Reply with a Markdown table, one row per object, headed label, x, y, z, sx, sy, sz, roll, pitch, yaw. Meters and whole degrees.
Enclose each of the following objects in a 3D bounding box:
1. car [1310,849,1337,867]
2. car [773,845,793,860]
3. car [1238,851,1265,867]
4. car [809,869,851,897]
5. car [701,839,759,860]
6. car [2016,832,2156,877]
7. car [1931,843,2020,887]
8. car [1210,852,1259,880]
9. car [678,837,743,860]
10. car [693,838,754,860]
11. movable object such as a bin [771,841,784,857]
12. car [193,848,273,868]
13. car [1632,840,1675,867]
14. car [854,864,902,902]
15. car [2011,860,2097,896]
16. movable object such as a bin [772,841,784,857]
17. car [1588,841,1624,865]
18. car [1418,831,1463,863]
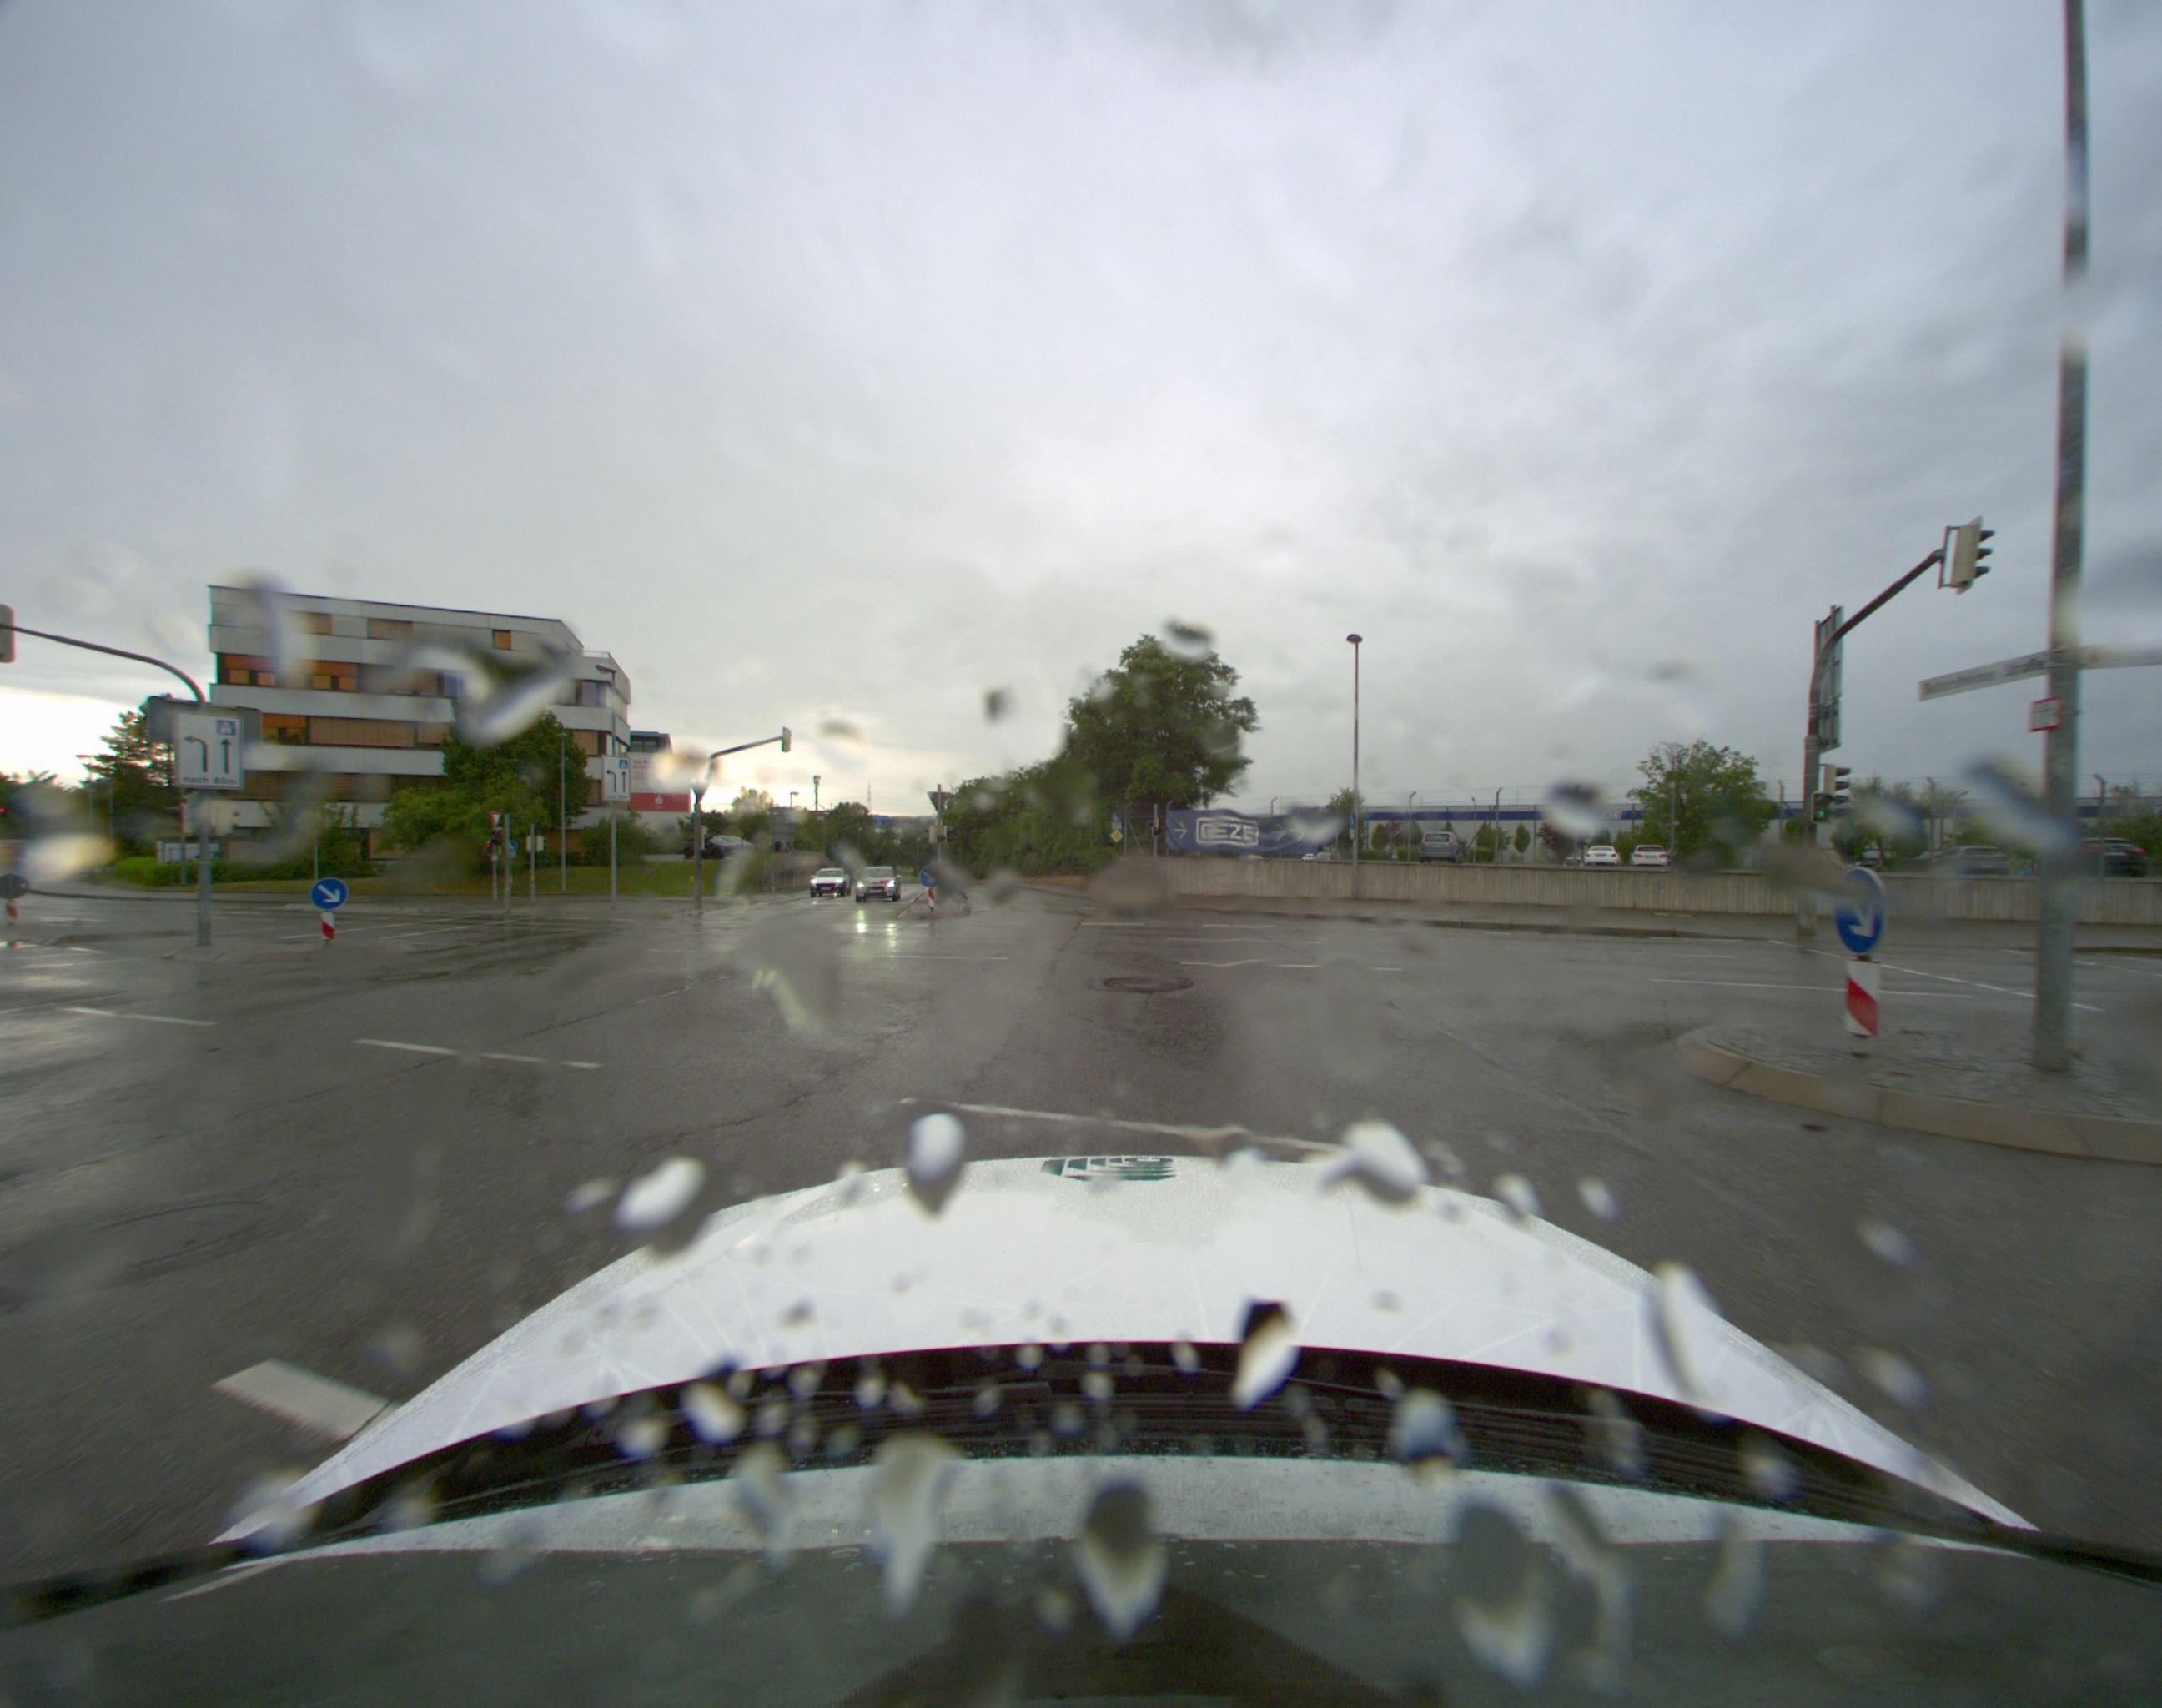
| label | x | y | z | sx | sy | sz | roll | pitch | yaw |
| --- | --- | --- | --- | --- | --- | --- | --- | --- | --- |
| car | 22.831 | 0.396 | 76.519 | 1.650 | 1.606 | 3.552 | -1 | -1 | 29 |
| car | -32.238 | -0.137 | 88.126 | 1.832 | 1.442 | 3.974 | 1 | -2 | -18 |
| car | 16.932 | 0.490 | 80.719 | 1.650 | 1.606 | 3.552 | -1 | -1 | 29 |
| car | -13.947 | 1.577 | 45.491 | 1.720 | 1.494 | 3.986 | 0 | -1 | -9 |
| car | -27.779 | -0.336 | 64.473 | 3.953 | 1.586 | 1.912 | 0 | -2 | 20 |
| car | 36.914 | 0.032 | 30.058 | 1.690 | 1.559 | 4.214 | -1 | -1 | 27 |
| car | 42.880 | 0.500 | 39.130 | 1.726 | 2.014 | 3.847 | -1 | -1 | 29 |
| car | 8.994 | 0.685 | 47.594 | 1.726 | 1.570 | 3.552 | -1 | -1 | 29 |
| car | -26.705 | -0.390 | 58.750 | 3.956 | 1.586 | 1.910 | 0 | -2 | 17 |
| car | -27.024 | -0.369 | 61.568 | 3.953 | 1.586 | 1.912 | 0 | -2 | 20 |
| movable object such as a bin | -28.985 | -0.472 | 77.689 | 1.087 | 1.437 | 1.437 | 1 | -2 | -18 |
| car | -63.178 | 0.262 | 60.761 | 3.775 | 1.399 | 1.979 | 0 | 0 | -34 |
| car | 34.890 | -0.016 | 49.729 | 1.840 | 1.526 | 4.129 | -1 | -1 | 31 |
| car | -8.665 | 1.208 | 35.005 | 1.661 | 1.494 | 3.986 | 0 | -1 | -9 |
| car | 57.538 | 1.371 | 48.261 | 1.974 | 2.014 | 4.025 | -1 | -1 | 30 |
| movable object such as a bin | -29.424 | -0.456 | 79.098 | 1.087 | 1.437 | 1.437 | 1 | -2 | -18 |
| car | 32.655 | -0.032 | 50.617 | 1.799 | 1.434 | 4.130 | -1 | -1 | 34 |
| car | 18.387 | -0.340 | 41.574 | 1.726 | 1.553 | 3.552 | -1 | -1 | 29 |
